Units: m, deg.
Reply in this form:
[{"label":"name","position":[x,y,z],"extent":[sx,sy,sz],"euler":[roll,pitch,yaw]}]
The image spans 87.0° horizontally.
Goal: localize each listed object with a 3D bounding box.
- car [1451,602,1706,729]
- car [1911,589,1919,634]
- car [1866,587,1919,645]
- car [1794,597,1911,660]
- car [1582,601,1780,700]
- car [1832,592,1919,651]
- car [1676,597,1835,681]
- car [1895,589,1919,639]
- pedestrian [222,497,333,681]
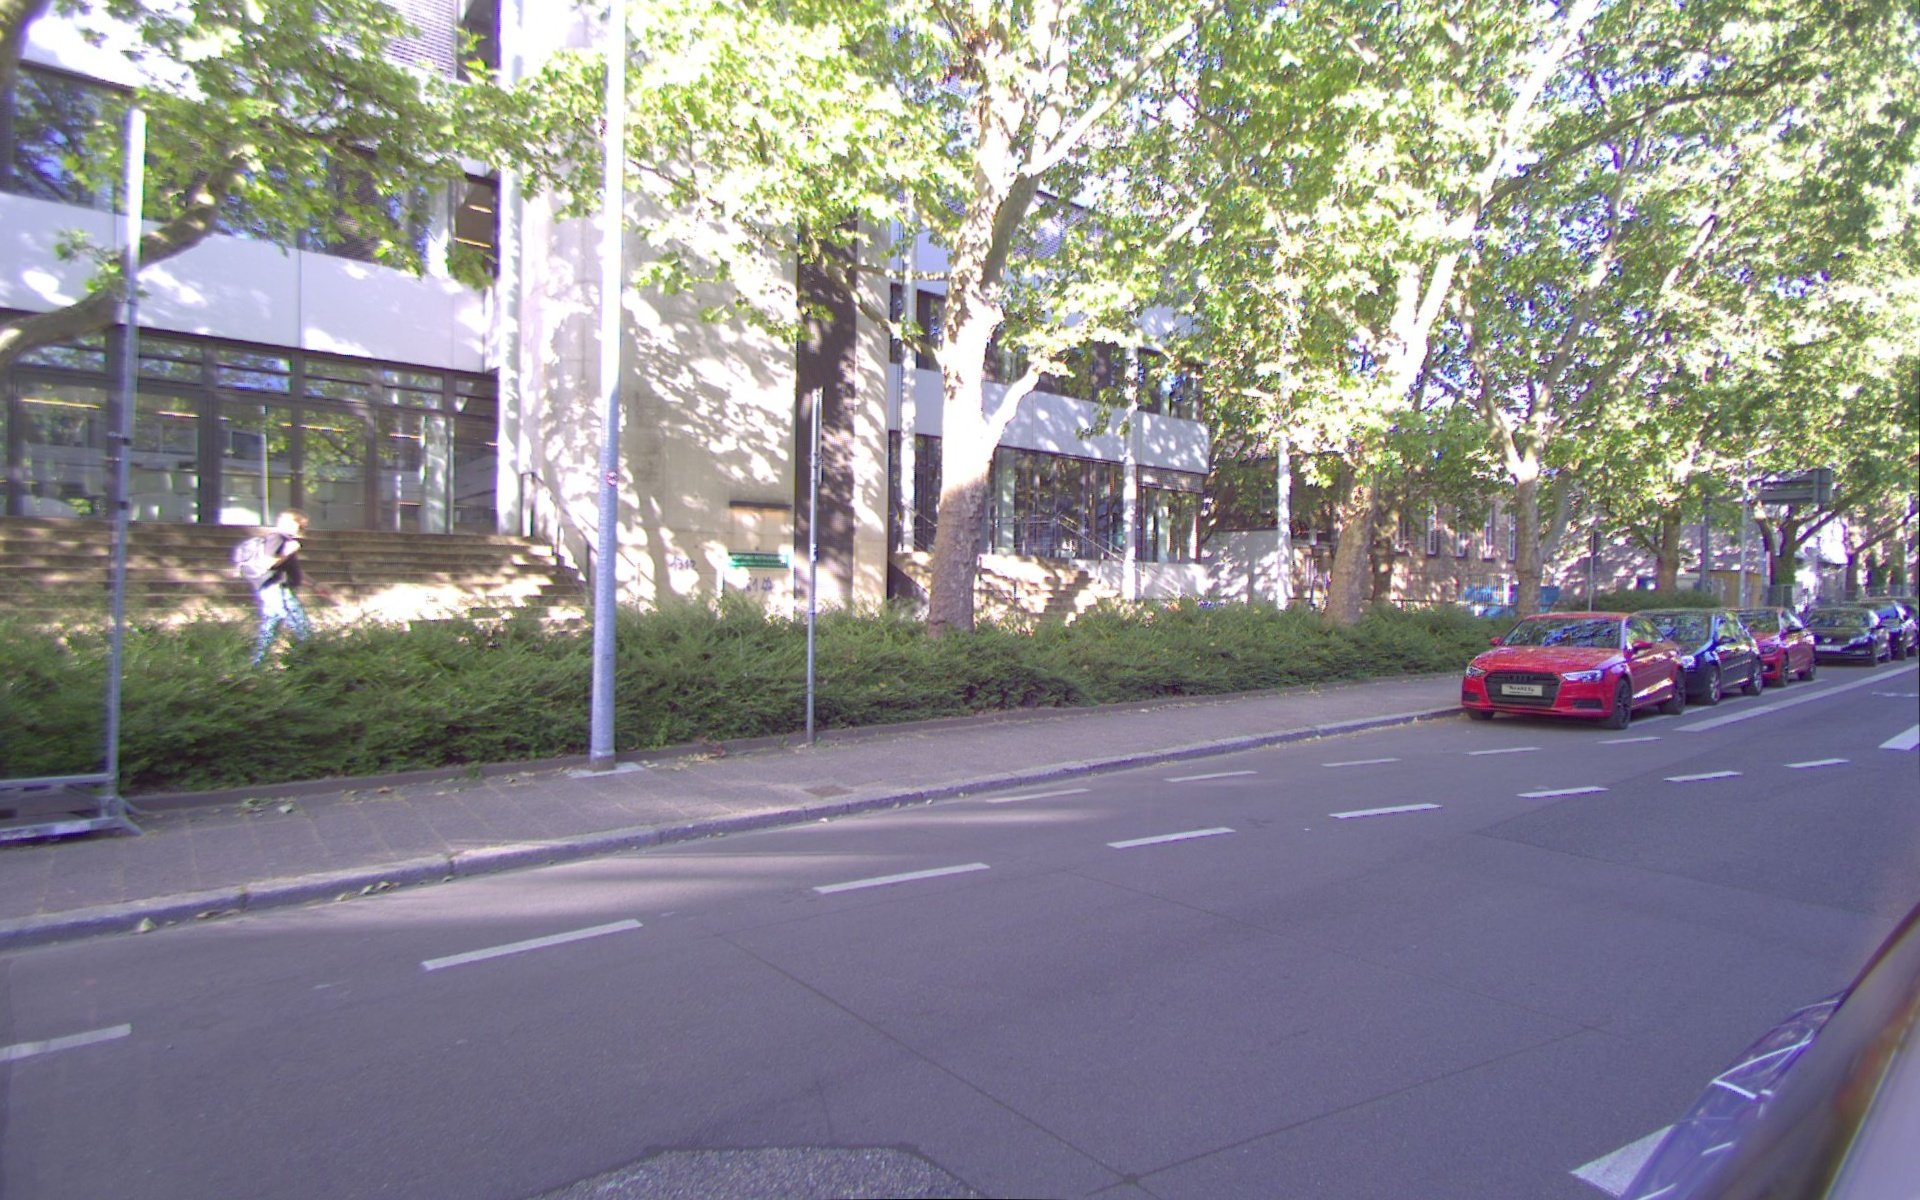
[{"label":"car","position":[8.362,0.751,13.544],"extent":[4.092,1.431,1.815],"euler":[0,-1,-42]},{"label":"car","position":[39.630,0.438,40.397],"extent":[4.475,1.777,2.040],"euler":[0,-1,-42]},{"label":"car","position":[31.060,0.487,33.011],"extent":[4.271,1.777,1.788],"euler":[0,-1,-42]},{"label":"car","position":[23.054,0.678,26.097],"extent":[4.092,1.478,1.788],"euler":[0,-1,-42]},{"label":"car","position":[11.956,0.736,16.683],"extent":[4.092,1.431,1.815],"euler":[0,-1,-42]},{"label":"car","position":[26.599,0.587,29.128],"extent":[4.092,1.573,1.788],"euler":[0,-1,-42]},{"label":"car","position":[15.861,0.699,20.104],"extent":[4.092,1.502,1.815],"euler":[0,-1,-42]},{"label":"car","position":[35.913,0.482,37.246],"extent":[4.475,1.777,1.788],"euler":[0,-1,-42]},{"label":"pedestrian","position":[-7.104,-0.115,10.533],"extent":[0.848,1.803,0.785],"euler":[0,0,-42]}]
